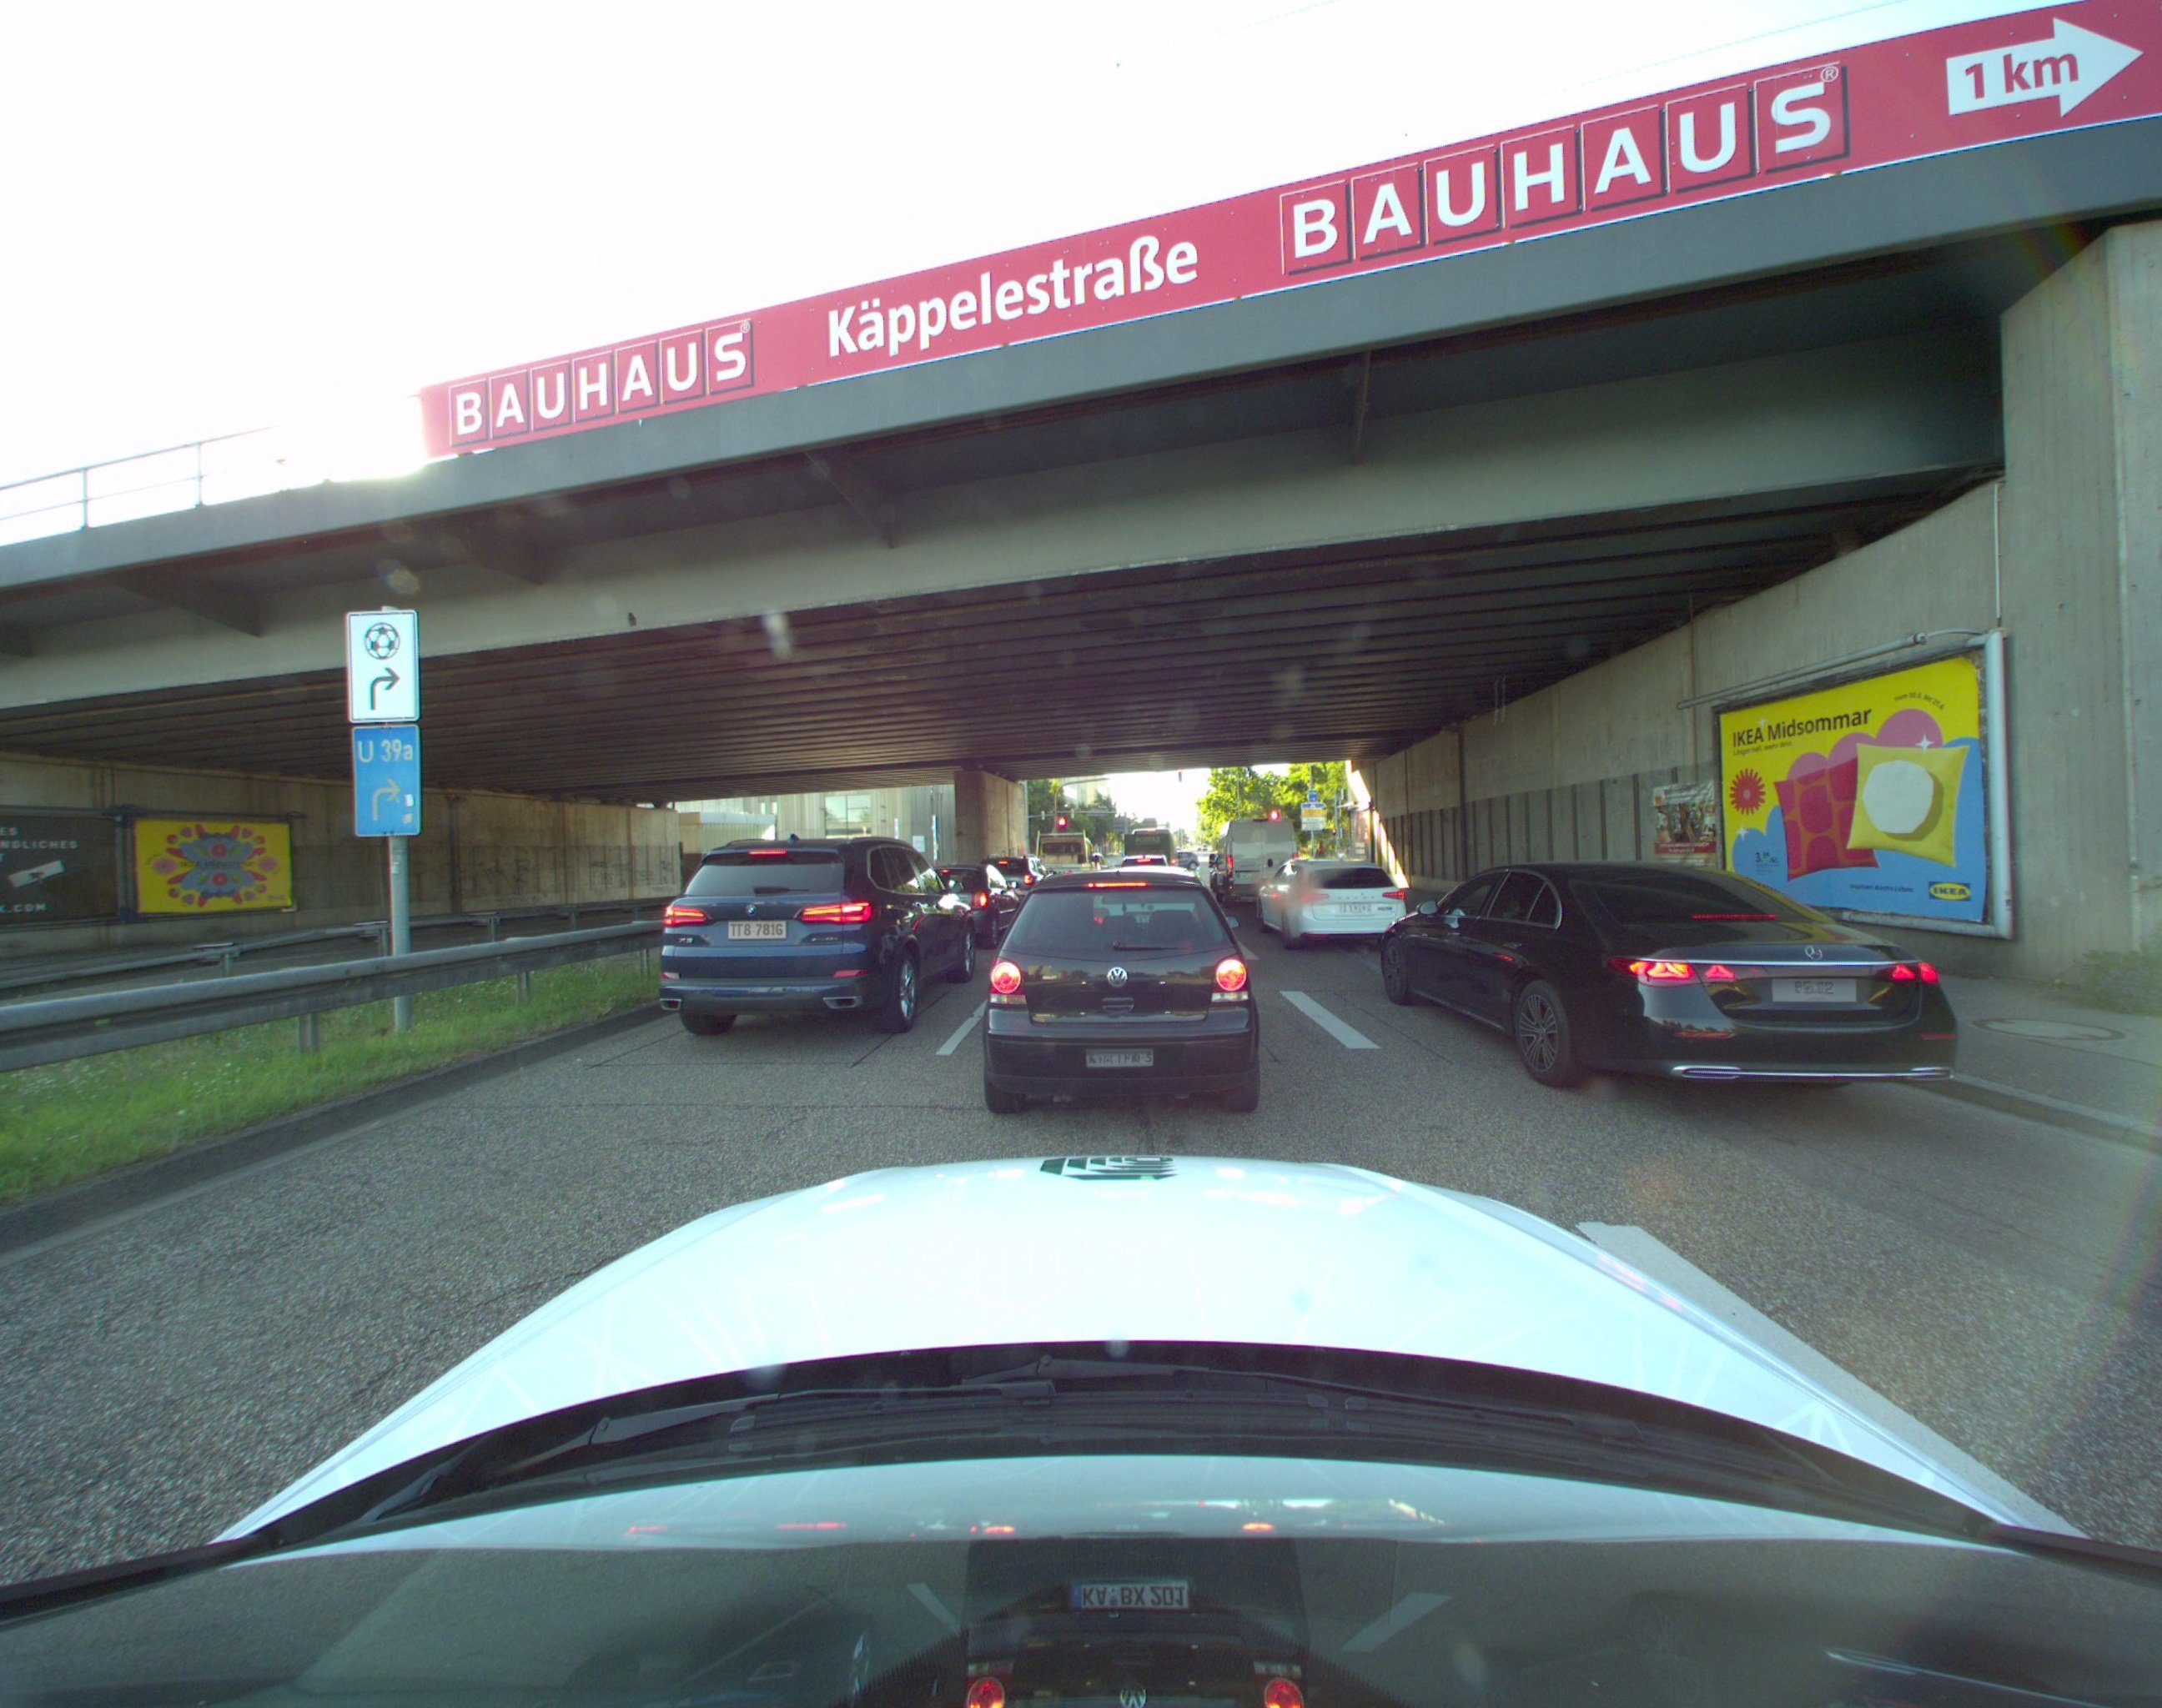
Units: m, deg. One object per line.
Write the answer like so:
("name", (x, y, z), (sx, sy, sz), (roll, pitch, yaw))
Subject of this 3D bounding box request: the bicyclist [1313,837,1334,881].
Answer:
("bicyclist", (10.637, 0.211, 35.733), (0.678, 1.907, 0.835), (-2, -1, 8))

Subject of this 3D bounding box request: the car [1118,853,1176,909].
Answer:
("car", (1.995, 0.788, 24.419), (1.574, 1.532, 3.837), (-1, -1, 5))

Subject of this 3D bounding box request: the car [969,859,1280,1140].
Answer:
("car", (0.259, 0.788, 6.106), (1.576, 1.409, 3.832), (-1, -1, 1))

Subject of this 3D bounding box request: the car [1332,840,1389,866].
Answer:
("car", (21.072, -0.071, 61.580), (3.771, 1.684, 1.669), (-5, -1, 10))

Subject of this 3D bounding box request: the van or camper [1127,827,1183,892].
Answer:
("van or camper", (3.352, 0.253, 35.856), (1.982, 2.571, 5.932), (-2, -1, 9))

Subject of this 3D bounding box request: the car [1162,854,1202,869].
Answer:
("car", (7.670, 0.568, 61.936), (2.817, 1.081, 1.216), (-2, -1, -5))

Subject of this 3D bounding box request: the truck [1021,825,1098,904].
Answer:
("truck", (-0.650, 0.388, 29.553), (2.018, 2.557, 5.546), (-2, -1, 6))

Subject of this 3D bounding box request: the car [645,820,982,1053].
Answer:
("car", (-2.343, 0.682, 8.509), (1.822, 1.738, 4.464), (-2, -1, 3))

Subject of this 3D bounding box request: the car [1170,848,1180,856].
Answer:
("car", (16.946, -0.365, 147.064), (1.335, 1.281, 2.893), (-5, -1, 1))

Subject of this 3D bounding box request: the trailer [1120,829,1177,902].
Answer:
("trailer", (2.588, 0.432, 30.570), (1.854, 2.465, 3.839), (-3, -1, 7))

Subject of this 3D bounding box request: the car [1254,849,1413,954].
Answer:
("car", (4.172, 0.746, 14.069), (1.764, 1.495, 3.836), (-3, -1, 5))

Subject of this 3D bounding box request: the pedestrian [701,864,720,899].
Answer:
("pedestrian", (-20.693, 1.511, 45.454), (0.690, 1.904, 0.666), (-2, -1, 7))

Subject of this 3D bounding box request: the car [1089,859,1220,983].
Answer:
("car", (0.989, 0.802, 11.335), (1.540, 1.423, 3.421), (0, 0, 4))

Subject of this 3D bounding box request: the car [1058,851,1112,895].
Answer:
("car", (0.263, 0.868, 37.736), (1.983, 1.901, 4.007), (-2, -1, 7))

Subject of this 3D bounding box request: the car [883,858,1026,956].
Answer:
("car", (-2.179, 0.887, 15.072), (1.834, 1.440, 3.677), (-5, -1, 2))

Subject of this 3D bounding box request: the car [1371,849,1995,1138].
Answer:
("car", (3.917, 0.711, 6.508), (1.733, 1.454, 4.609), (-1, 0, 2))

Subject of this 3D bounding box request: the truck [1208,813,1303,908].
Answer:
("truck", (5.199, 0.219, 24.878), (2.102, 2.519, 4.405), (-3, -1, 4))

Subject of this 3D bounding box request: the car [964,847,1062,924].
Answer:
("car", (-1.702, 0.797, 21.806), (1.833, 1.719, 4.005), (-5, -1, 5))

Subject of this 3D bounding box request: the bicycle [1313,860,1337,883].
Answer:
("bicycle", (10.648, 0.749, 35.597), (0.575, 0.963, 2.892), (-2, -1, 8))
